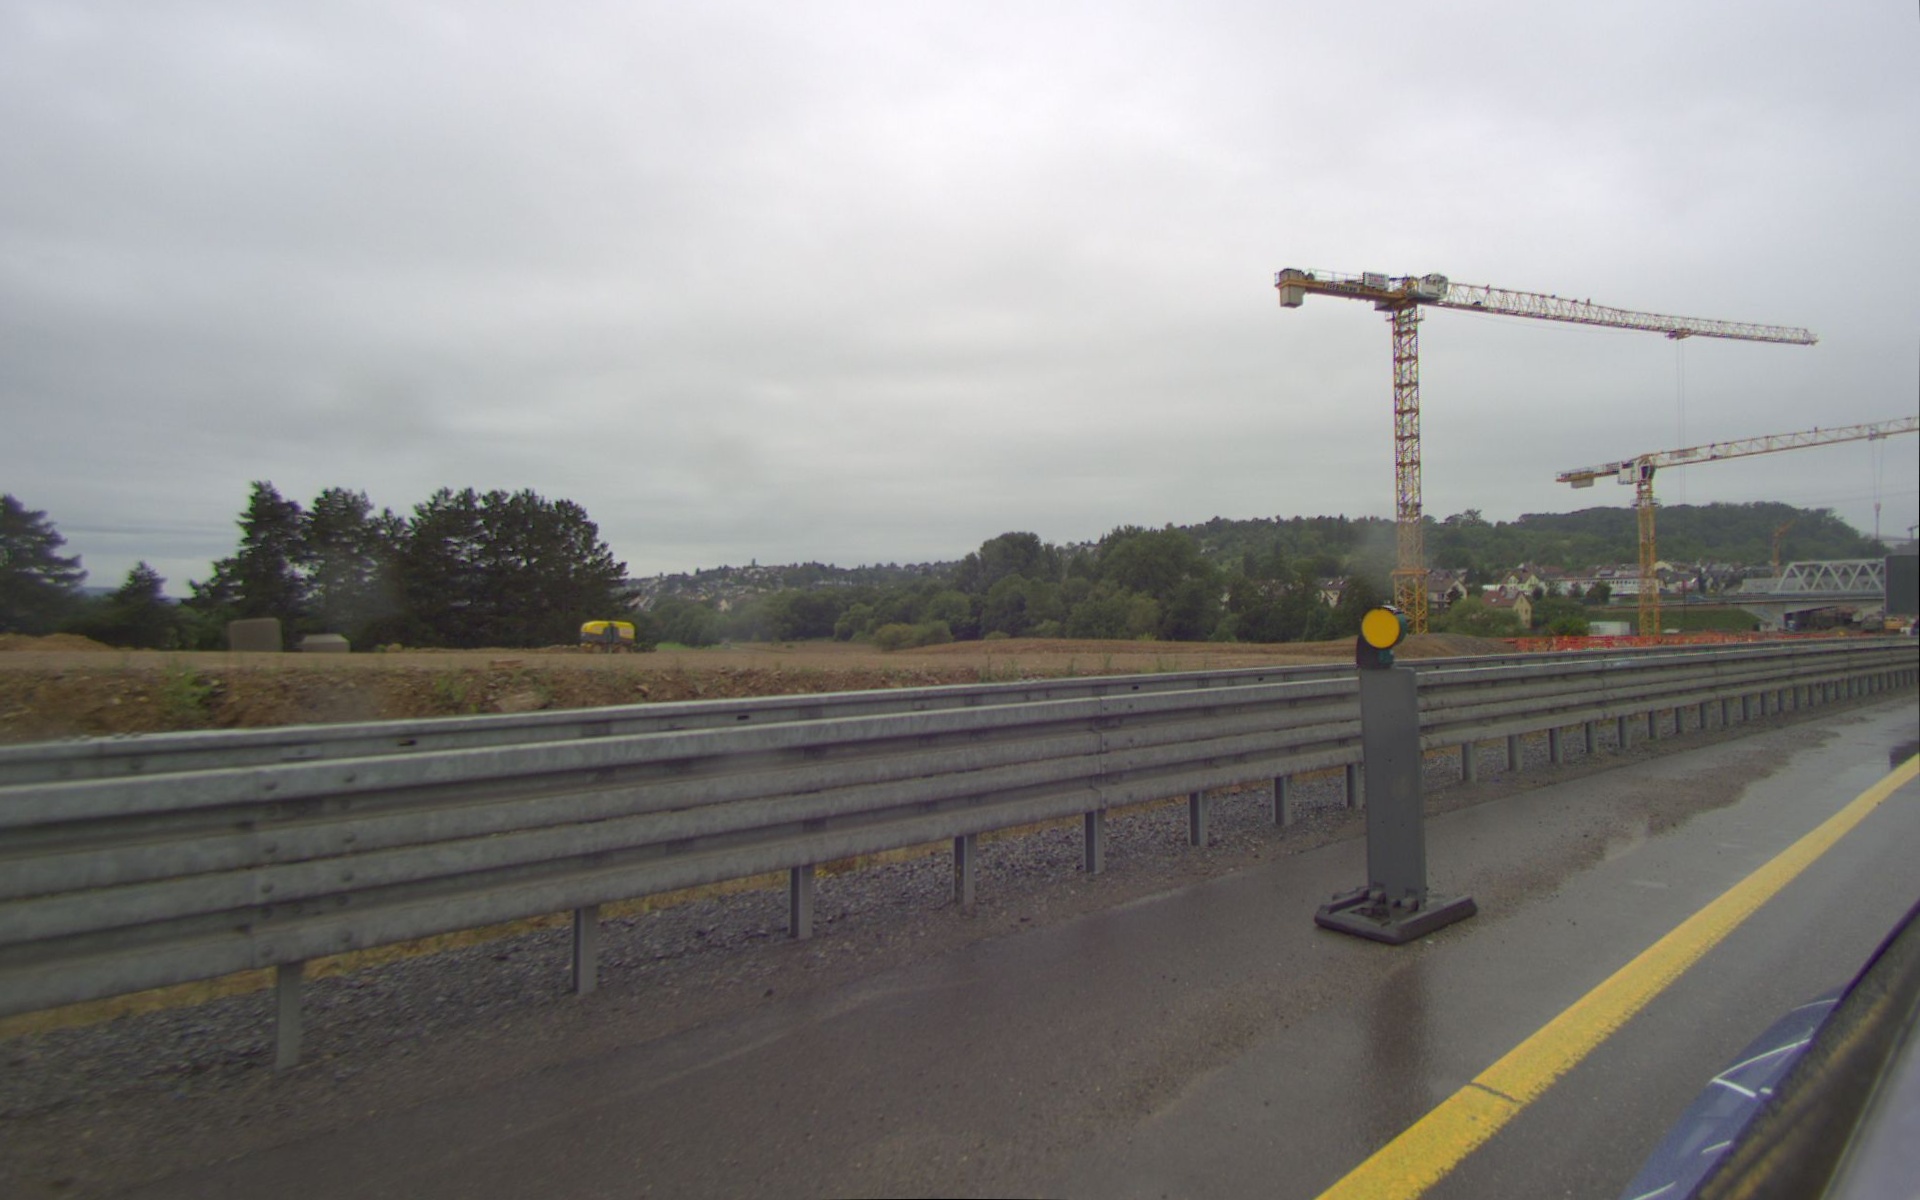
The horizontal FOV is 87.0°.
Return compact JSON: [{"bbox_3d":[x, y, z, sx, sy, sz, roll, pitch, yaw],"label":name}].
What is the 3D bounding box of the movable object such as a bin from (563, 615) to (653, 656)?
[{"bbox_3d":[-12.405,1.220,35.744,1.388,1.318,2.662,0,0,45],"label":"movable object such as a bin"}]
